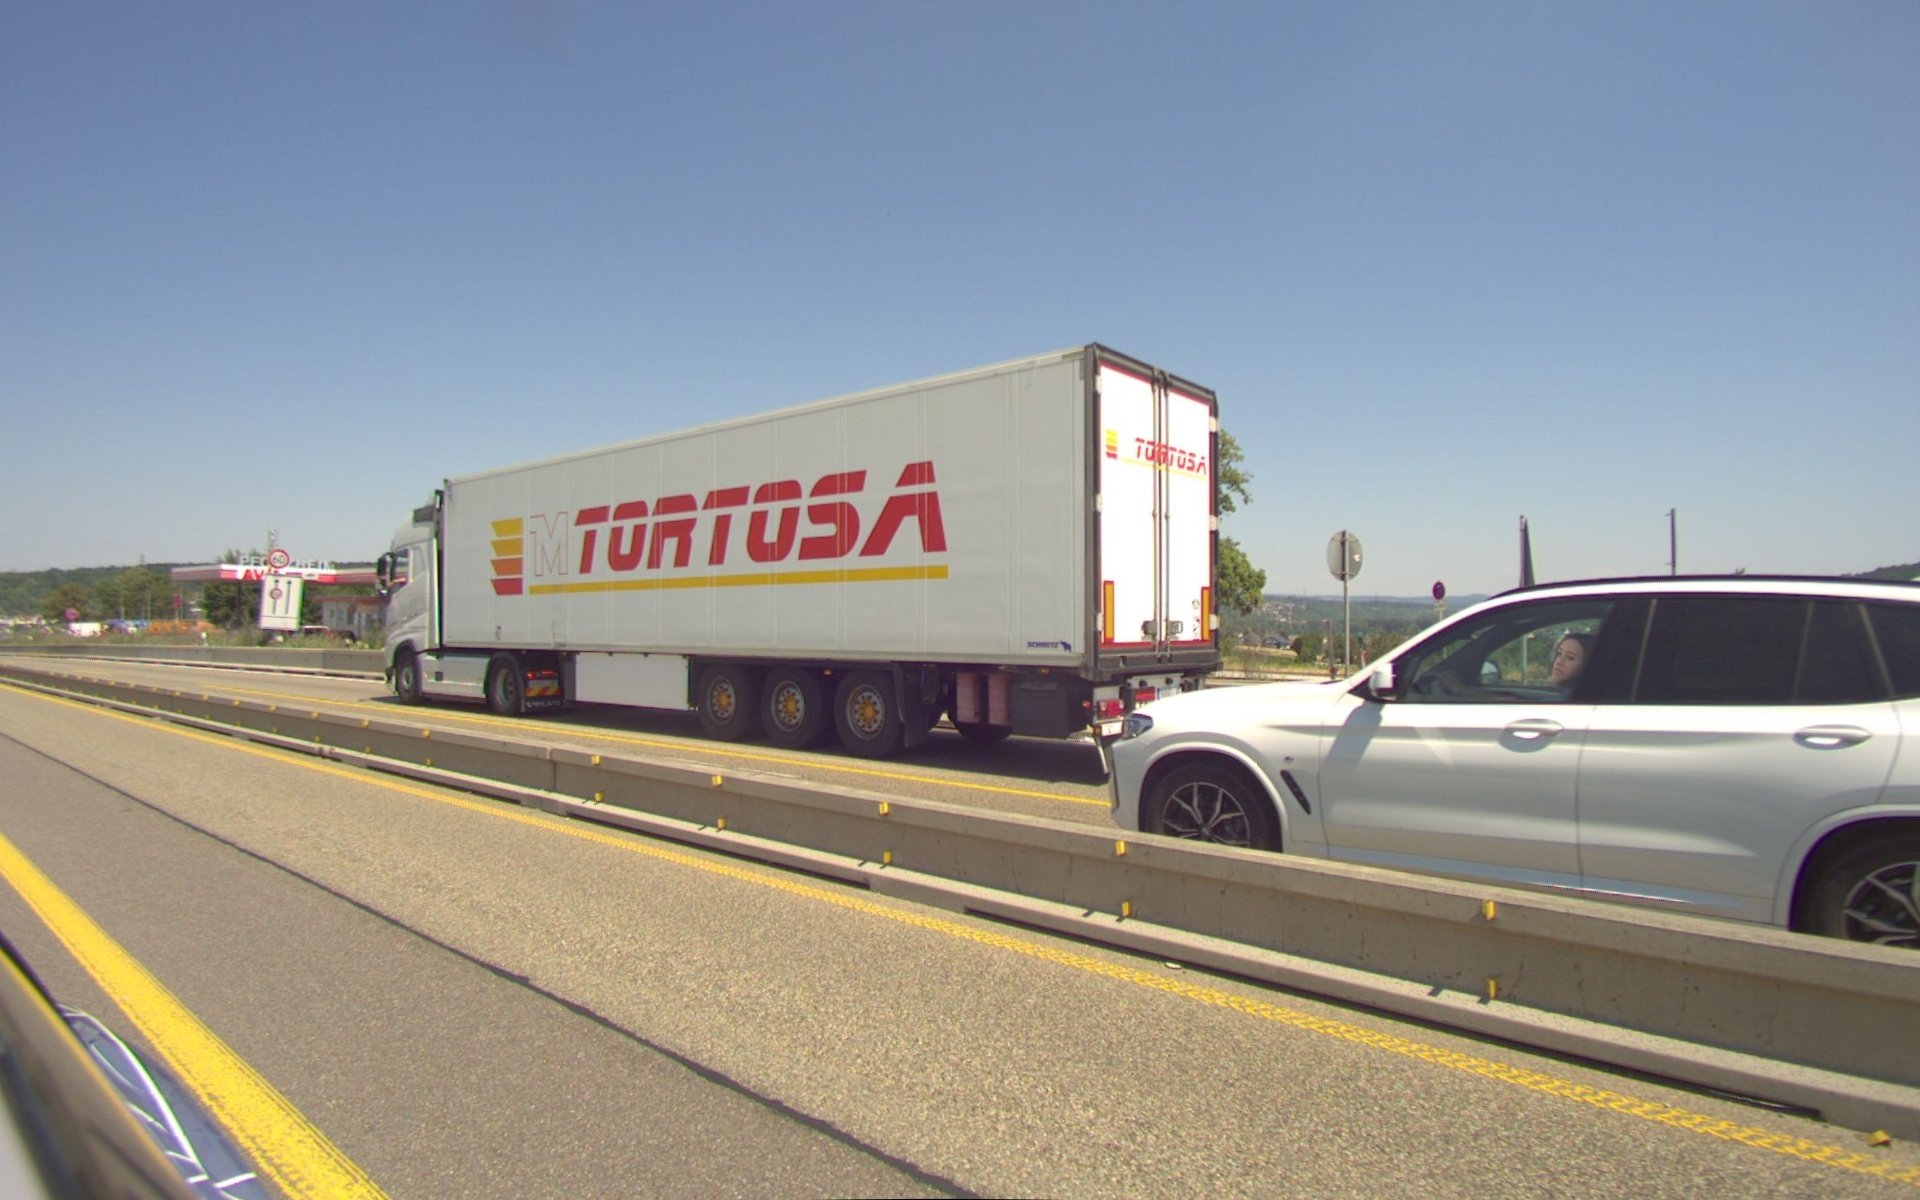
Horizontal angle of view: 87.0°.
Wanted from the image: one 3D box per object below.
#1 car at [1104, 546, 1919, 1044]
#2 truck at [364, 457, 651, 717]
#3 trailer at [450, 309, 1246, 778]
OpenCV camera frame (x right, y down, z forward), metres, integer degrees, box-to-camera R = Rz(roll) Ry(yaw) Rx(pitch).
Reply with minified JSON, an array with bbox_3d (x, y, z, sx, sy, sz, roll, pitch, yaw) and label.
[{"bbox_3d":[3.166,0.693,5.014,4.488,1.752,1.974,-1,0,39],"label":"car"},{"bbox_3d":[-8.609,-0.184,19.040,5.453,4.163,2.802,-1,0,40],"label":"truck"},{"bbox_3d":[-2.820,-0.350,14.196,13.112,4.125,2.787,-2,-1,40],"label":"trailer"}]
